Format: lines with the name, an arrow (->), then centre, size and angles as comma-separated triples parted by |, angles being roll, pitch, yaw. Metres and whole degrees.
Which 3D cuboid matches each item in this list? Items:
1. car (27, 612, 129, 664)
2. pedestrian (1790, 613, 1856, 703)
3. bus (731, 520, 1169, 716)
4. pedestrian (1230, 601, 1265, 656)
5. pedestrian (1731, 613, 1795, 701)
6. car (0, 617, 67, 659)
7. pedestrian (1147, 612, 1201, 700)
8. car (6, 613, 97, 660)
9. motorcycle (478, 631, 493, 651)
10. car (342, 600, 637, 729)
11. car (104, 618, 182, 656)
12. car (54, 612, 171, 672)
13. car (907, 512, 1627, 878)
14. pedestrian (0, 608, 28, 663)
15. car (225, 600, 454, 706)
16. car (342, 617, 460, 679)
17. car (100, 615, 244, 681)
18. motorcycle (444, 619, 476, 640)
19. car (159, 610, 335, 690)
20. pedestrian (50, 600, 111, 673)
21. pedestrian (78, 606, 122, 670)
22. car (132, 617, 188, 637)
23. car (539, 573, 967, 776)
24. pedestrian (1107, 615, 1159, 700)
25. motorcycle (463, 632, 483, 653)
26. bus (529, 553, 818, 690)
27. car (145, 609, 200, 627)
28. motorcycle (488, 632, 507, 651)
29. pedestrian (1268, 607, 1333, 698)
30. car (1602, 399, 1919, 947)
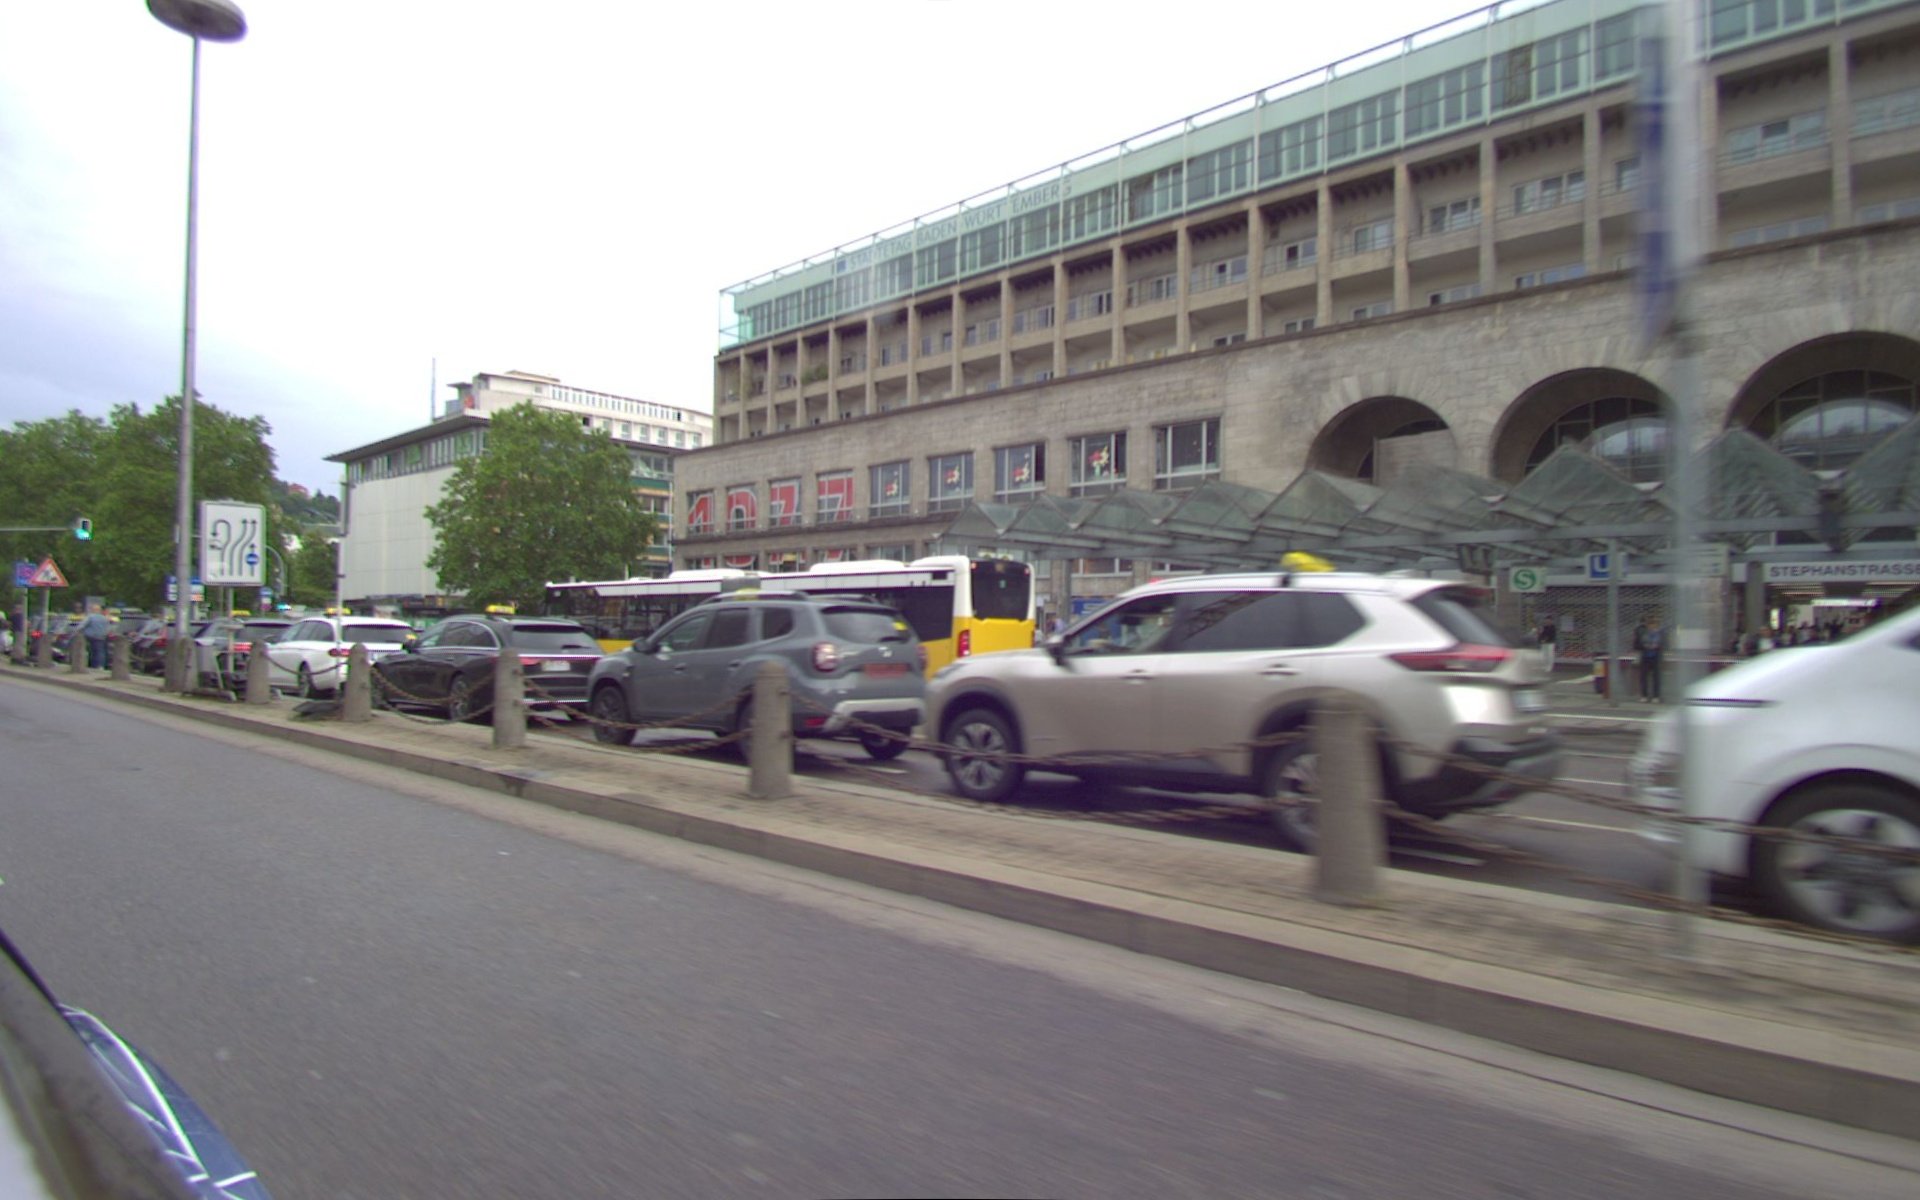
car -> -30.744, 1.292, 35.224 | 4.678, 1.703, 1.910 | -1, -3, 40
pedestrian -> 16.554, 1.091, 19.420 | 0.894, 1.668, 0.748 | -2, -1, 43
bus -> -0.747, 0.429, 22.604 | 10.568, 3.486, 2.847 | -1, -2, 41
pedestrian -> 8.551, 0.843, 30.121 | 0.757, 1.579, 0.623 | -2, -1, 42
pedestrian -> 15.861, 1.113, 19.984 | 0.894, 1.668, 0.748 | -2, -1, 43
car -> -39.133, 1.571, 42.318 | 4.838, 1.633, 1.994 | -2, -2, 40
pedestrian -> 4.372, 1.130, 20.703 | 0.855, 1.738, 0.617 | -2, -1, 41
car -> -34.884, 1.384, 38.827 | 4.678, 1.703, 1.910 | -1, -3, 40
motorcycle -> -28.901, 2.478, 61.657 | 0.573, 1.142, 1.629 | -1, -1, -17
car -> -7.015, 0.859, 14.839 | 5.048, 1.589, 1.910 | -1, -3, 40
car -> -38.200, 1.715, 47.306 | 4.678, 1.703, 1.910 | -1, -3, 40
car -> -26.161, 1.265, 31.197 | 4.678, 1.703, 1.910 | -1, -3, 40
car -> 1.931, 0.533, 7.287 | 4.580, 1.820, 1.909 | -1, -3, 42
pedestrian -> -31.265, 1.158, 33.348 | 0.711, 1.768, 0.691 | -2, -2, 40
car -> -11.465, 0.911, 18.535 | 5.188, 1.672, 1.956 | -1, -3, 40
car -> -18.238, 1.525, 32.962 | 4.115, 1.842, 1.974 | -2, -1, 39
car -> -21.078, 1.226, 26.994 | 5.256, 1.589, 1.910 | -1, -3, 40
motorcycle -> -26.472, 1.565, 53.564 | 0.600, 1.065, 1.428 | -2, -1, 29
car -> -15.979, 1.069, 22.574 | 5.008, 1.589, 1.910 | -1, -3, 40
pedestrian -> -21.800, 0.895, 25.099 | 0.616, 1.782, 1.040 | -1, -2, 39
pedestrian -> -22.447, 0.986, 26.424 | 0.995, 1.619, 0.715 | -2, -1, 40
car -> -75.492, 2.551, 95.542 | 3.682, 1.554, 1.857 | -3, 2, -13
car -> -2.402, 0.695, 10.896 | 4.882, 1.712, 1.910 | -1, -3, 41
pedestrian -> 3.669, 1.202, 21.515 | 0.855, 1.738, 0.617 | -2, -1, 41
motorcycle -> -27.338, 2.372, 56.792 | 0.592, 1.065, 1.820 | -1, -1, -13
bus -> -8.737, 0.669, 29.726 | 10.568, 3.402, 2.847 | -1, -2, 41
car -> -91.411, 2.079, 117.517 | 2.035, 2.029, 4.767 | -2, -1, 42
motorcycle -> -27.397, 2.446, 59.943 | 0.574, 1.065, 1.626 | -1, -1, -42
pedestrian -> 7.098, 1.071, 21.097 | 1.026, 1.822, 0.732 | -2, -1, 42
car -> 5.761, 0.279, 3.670 | 5.542, 2.195, 1.972 | -1, -2, 42
